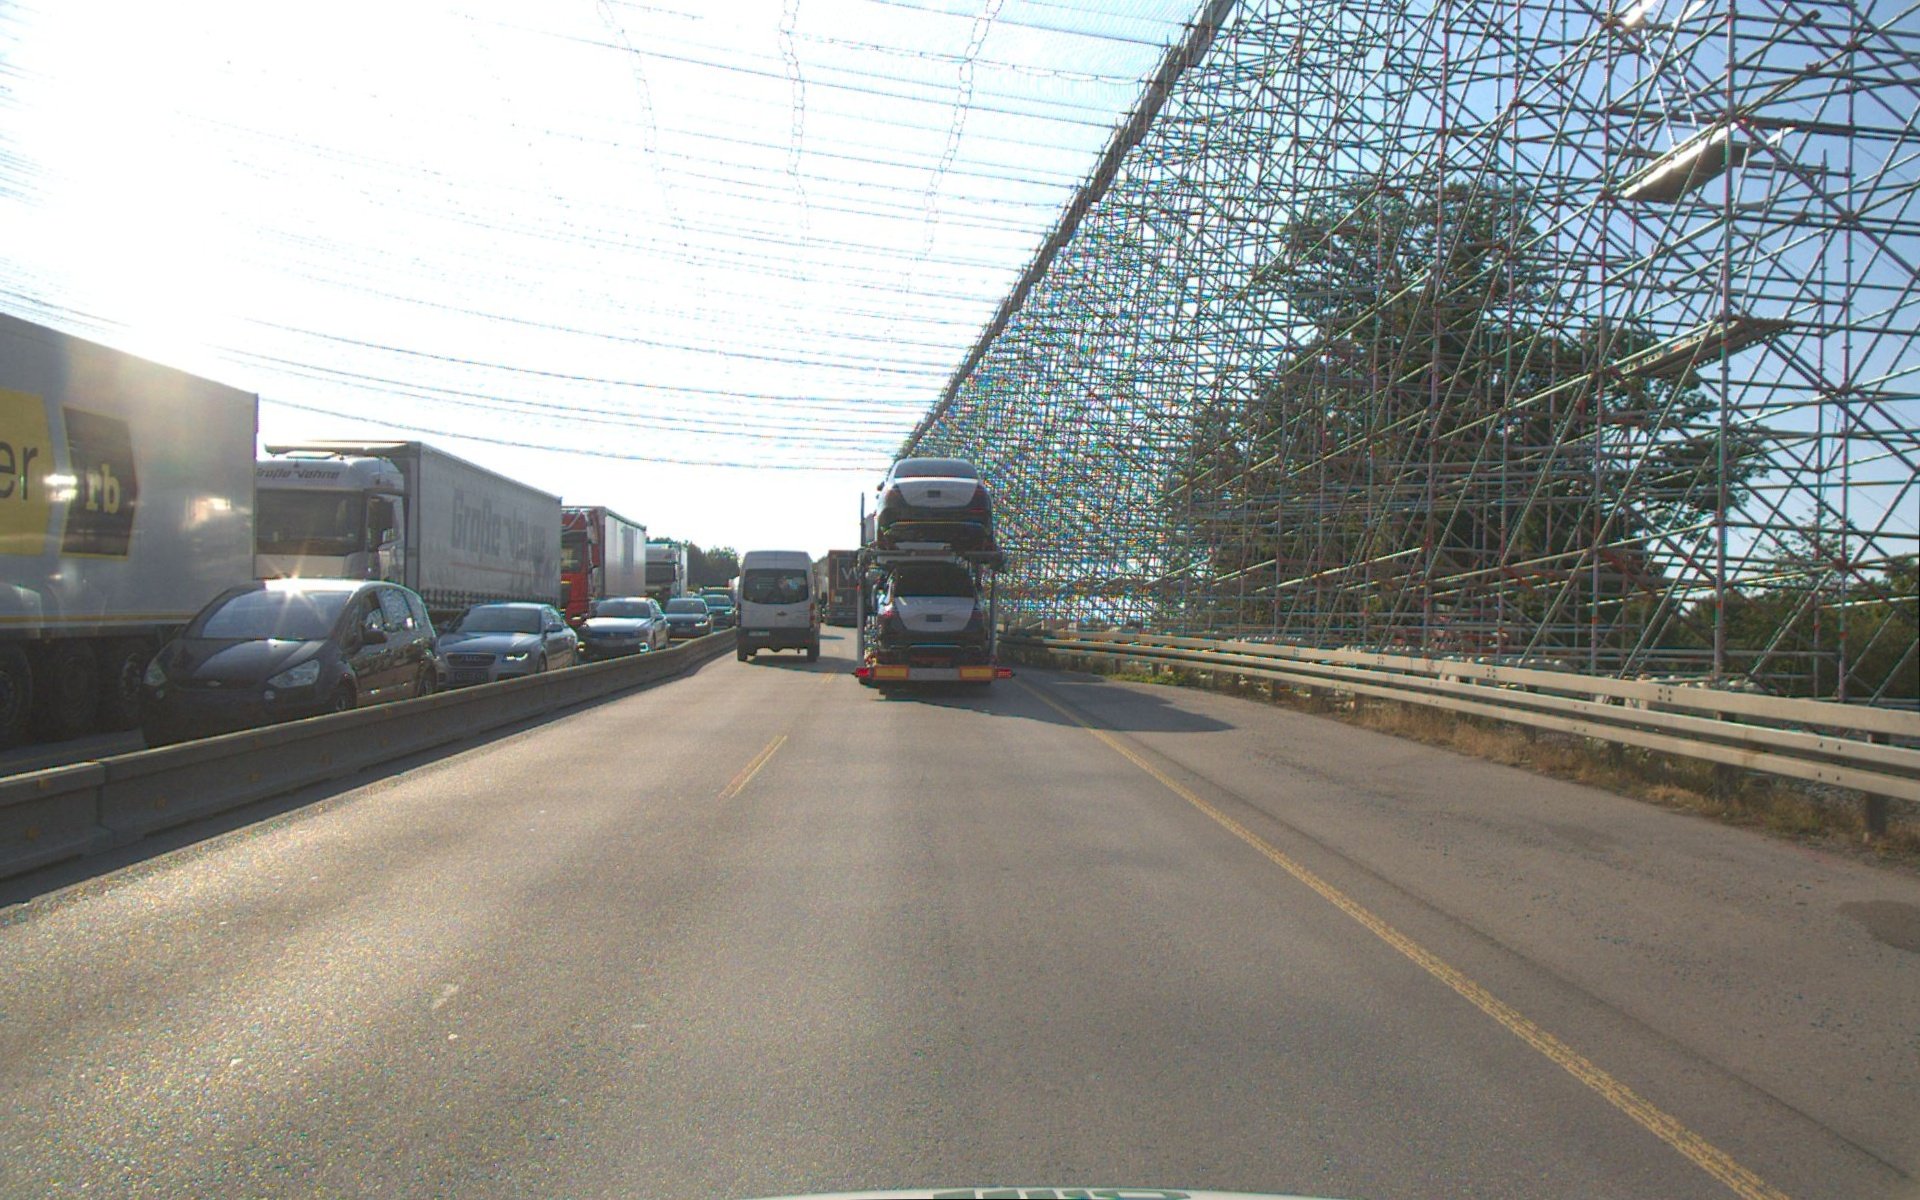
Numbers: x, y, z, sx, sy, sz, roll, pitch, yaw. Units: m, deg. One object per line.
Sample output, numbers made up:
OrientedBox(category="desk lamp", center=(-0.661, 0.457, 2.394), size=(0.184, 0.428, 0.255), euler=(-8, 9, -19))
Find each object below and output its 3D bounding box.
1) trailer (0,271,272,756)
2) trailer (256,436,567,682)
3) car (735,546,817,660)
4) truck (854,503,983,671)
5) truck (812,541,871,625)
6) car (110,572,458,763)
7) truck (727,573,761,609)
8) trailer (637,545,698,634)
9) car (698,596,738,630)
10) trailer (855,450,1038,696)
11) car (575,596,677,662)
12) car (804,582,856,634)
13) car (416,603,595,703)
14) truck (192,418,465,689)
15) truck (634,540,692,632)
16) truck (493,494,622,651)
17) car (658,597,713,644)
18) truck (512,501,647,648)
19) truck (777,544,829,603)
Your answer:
OrientedBox(category="trailer", center=(-10.074, -0.793, 14.578), size=(2.710, 4.410, 13.874), euler=(0, 0, -2))
OrientedBox(category="trailer", center=(-11.084, -0.655, 35.427), size=(2.743, 4.214, 13.956), euler=(0, 0, -3))
OrientedBox(category="car", center=(-4.526, 0.095, 41.035), size=(1.918, 2.667, 3.995), euler=(0, -1, -6))
OrientedBox(category="truck", center=(-1.167, -0.265, 40.769), size=(2.825, 3.767, 7.318), euler=(0, 0, -4))
OrientedBox(category="truck", center=(-6.842, -0.931, 93.995), size=(2.680, 4.462, 11.503), euler=(1, 0, -7))
OrientedBox(category="car", center=(-6.734, 0.600, 17.114), size=(1.717, 1.686, 4.861), euler=(0, 0, -2))
OrientedBox(category="truck", center=(-23.783, -1.039, 181.912), size=(2.572, 3.788, 9.624), euler=(2, 0, -14))
OrientedBox(category="trailer", center=(-15.443, -0.553, 88.107), size=(2.604, 4.307, 13.894), euler=(2, 0, -8))
OrientedBox(category="car", center=(-11.525, 0.604, 79.097), size=(1.709, 1.561, 4.261), euler=(1, 0, -6))
OrientedBox(category="trailer", center=(-0.664, -0.363, 33.017), size=(2.812, 3.790, 14.935), euler=(0, 0, -4))
OrientedBox(category="car", center=(-8.208, 0.688, 41.053), size=(1.697, 1.464, 4.835), euler=(2, 0, -3))
OrientedBox(category="car", center=(-5.256, 0.329, 67.457), size=(1.954, 2.049, 3.998), euler=(1, -1, -3))
OrientedBox(category="car", center=(-7.218, 0.786, 26.767), size=(1.697, 1.401, 4.888), euler=(2, 0, -3))
OrientedBox(category="truck", center=(-10.717, -0.696, 28.728), size=(2.732, 4.214, 5.929), euler=(0, 0, -3))
OrientedBox(category="truck", center=(-14.533, -0.652, 81.236), size=(2.613, 4.304, 6.092), euler=(0, 0, -9))
OrientedBox(category="truck", center=(-11.506, -0.712, 47.841), size=(2.734, 4.214, 6.669), euler=(0, 0, -6))
OrientedBox(category="car", center=(-9.327, 0.660, 56.411), size=(1.619, 1.489, 4.393), euler=(2, 0, -7))
OrientedBox(category="truck", center=(-12.240, -0.680, 54.477), size=(2.734, 4.214, 13.788), euler=(0, 0, -6))
OrientedBox(category="truck", center=(-12.597, -2.039, 131.862), size=(3.617, 4.294, 13.647), euler=(-2, 0, -7))
